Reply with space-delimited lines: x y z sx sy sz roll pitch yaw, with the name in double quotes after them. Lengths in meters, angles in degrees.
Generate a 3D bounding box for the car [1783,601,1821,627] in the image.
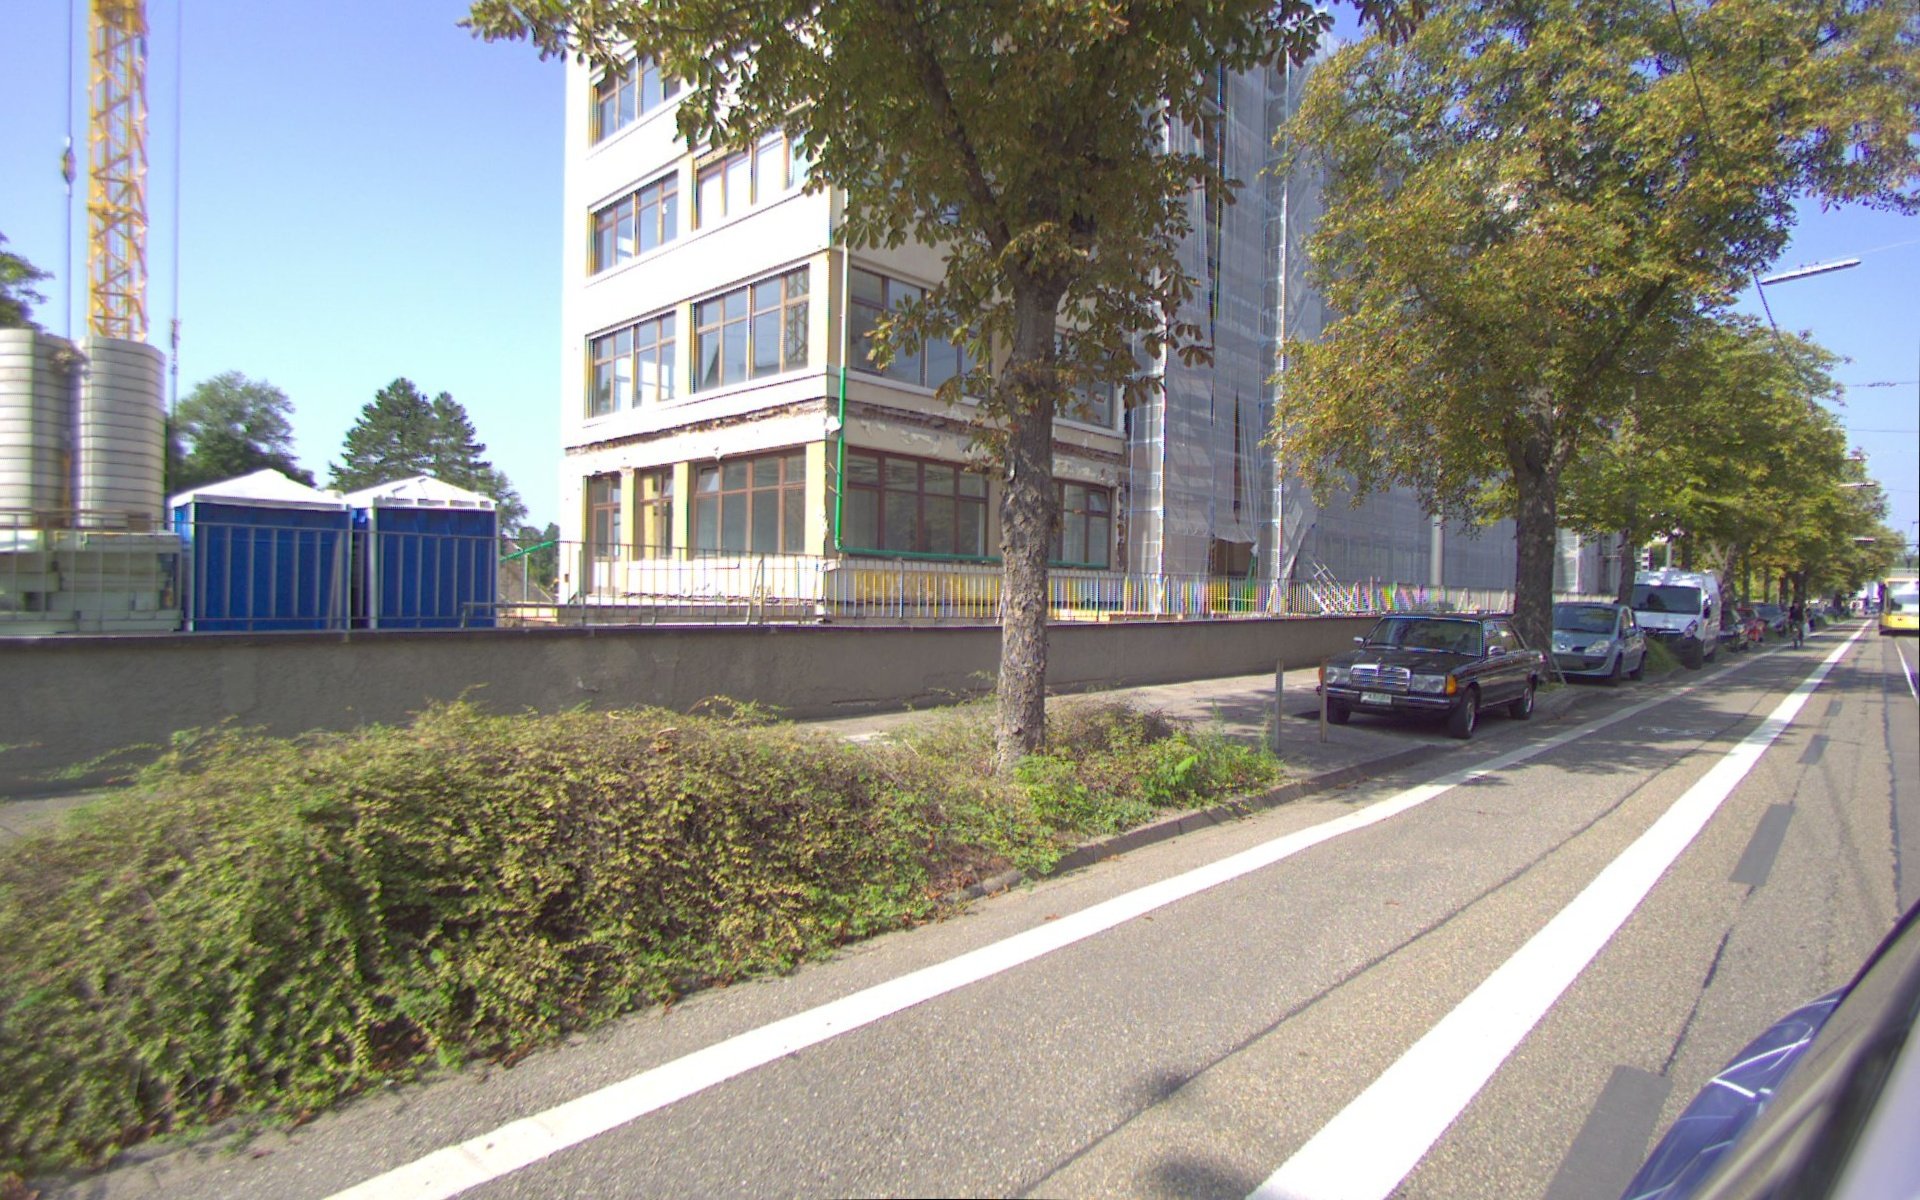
55.250 0.901 66.365 1.646 1.529 3.719 3 2 43 "car"

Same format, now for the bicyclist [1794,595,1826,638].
29.983 0.573 35.693 1.098 1.488 0.787 1 0 -45 "bicyclist"

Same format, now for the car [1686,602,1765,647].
26.272 0.775 34.671 1.617 1.391 4.751 2 1 44 "car"

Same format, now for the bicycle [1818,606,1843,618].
84.019 1.142 97.697 1.768 1.077 0.784 3 2 42 "bicycle"

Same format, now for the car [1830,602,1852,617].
96.206 1.060 110.469 1.740 1.504 4.369 3 1 42 "car"

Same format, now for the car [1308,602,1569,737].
6.462 0.764 13.378 1.754 1.394 4.645 3 2 43 "car"

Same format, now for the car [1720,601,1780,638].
33.073 0.779 42.332 1.617 1.431 3.937 2 1 43 "car"

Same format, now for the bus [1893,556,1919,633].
51.826 -0.260 53.764 9.166 3.841 2.895 0 0 -45 "bus"

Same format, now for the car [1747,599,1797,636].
39.983 0.851 49.826 1.752 1.713 4.330 0 -1 41 "car"

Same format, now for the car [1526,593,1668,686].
12.844 0.734 20.314 1.665 1.637 3.815 3 1 43 "car"

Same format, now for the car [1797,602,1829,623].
63.480 0.902 75.316 1.646 1.446 4.022 3 2 42 "car"

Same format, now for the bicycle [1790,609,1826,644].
29.561 0.904 35.261 0.787 1.159 2.267 1 0 45 "bicycle"

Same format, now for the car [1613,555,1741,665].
19.385 0.212 27.244 2.082 2.583 5.418 5 3 41 "car"
